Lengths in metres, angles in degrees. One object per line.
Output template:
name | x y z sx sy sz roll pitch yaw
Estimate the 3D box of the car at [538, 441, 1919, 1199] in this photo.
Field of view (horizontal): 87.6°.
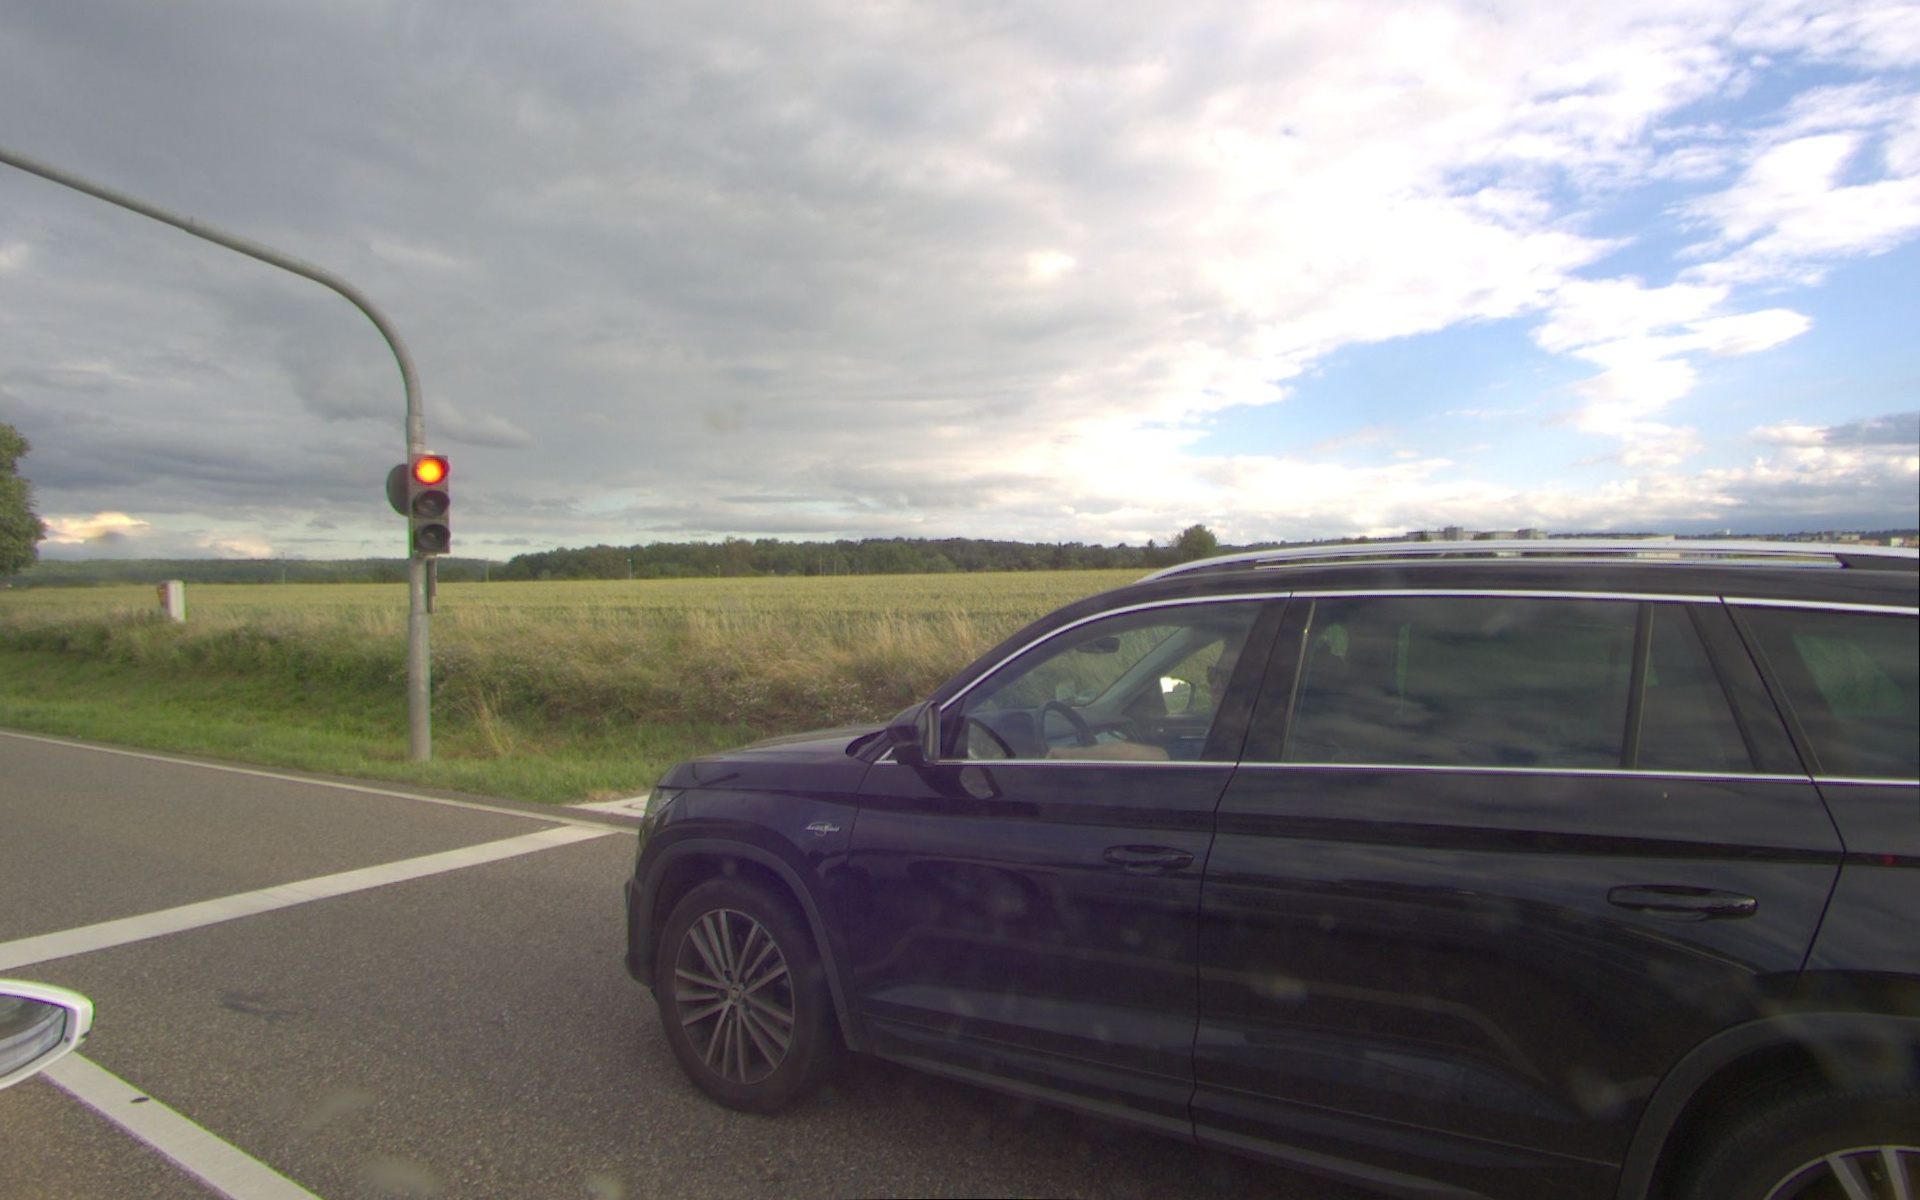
car | 0.900 0.671 3.076 4.492 1.730 1.833 -1 -2 32
